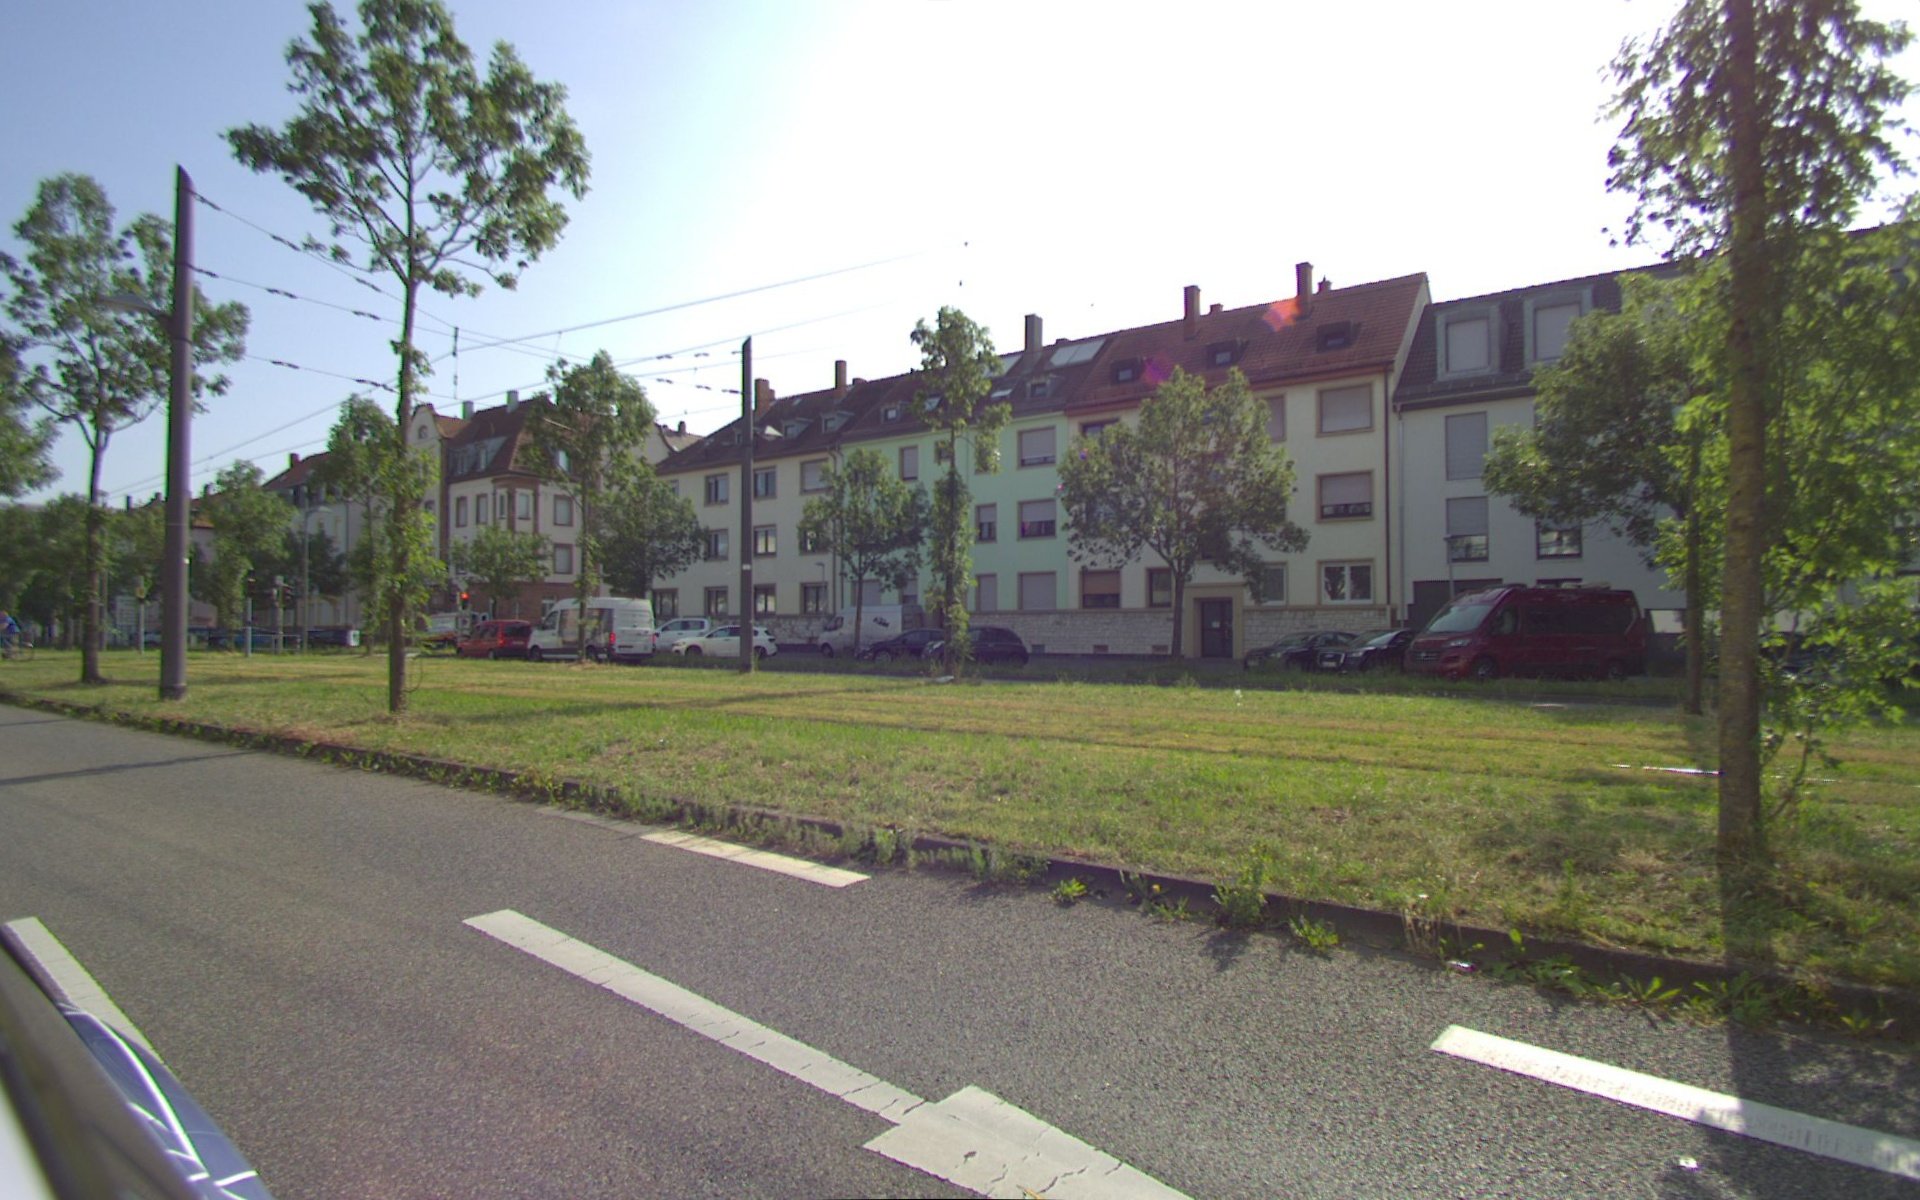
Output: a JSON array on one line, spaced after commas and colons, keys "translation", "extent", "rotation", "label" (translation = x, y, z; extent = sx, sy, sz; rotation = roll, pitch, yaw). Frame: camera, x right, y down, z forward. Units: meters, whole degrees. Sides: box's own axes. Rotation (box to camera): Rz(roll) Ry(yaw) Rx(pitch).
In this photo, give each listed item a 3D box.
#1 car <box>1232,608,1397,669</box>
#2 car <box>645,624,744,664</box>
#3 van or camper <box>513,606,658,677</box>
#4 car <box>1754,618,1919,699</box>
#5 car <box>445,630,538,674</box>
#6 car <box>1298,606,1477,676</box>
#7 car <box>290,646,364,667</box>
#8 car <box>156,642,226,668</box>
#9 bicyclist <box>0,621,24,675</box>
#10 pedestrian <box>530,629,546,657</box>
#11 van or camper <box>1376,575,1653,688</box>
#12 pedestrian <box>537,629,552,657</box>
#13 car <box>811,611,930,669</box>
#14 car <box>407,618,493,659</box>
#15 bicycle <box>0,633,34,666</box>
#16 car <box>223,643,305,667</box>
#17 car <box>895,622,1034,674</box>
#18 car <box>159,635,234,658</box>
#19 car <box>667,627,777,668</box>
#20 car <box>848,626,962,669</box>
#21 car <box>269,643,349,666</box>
[{"translation": [10.064, 1.063, 28.807], "extent": [4.083, 1.520, 1.874], "rotation": [-1, 2, -16], "label": "car"}, {"translation": [-11.502, 1.880, 43.805], "extent": [4.029, 1.541, 1.818], "rotation": [-1, 0, -17], "label": "car"}, {"translation": [-14.321, 1.569, 38.572], "extent": [6.046, 2.493, 2.122], "rotation": [-1, -3, 36], "label": "van or camper"}, {"translation": [18.639, 1.141, 20.792], "extent": [3.931, 1.431, 1.787], "rotation": [-1, 0, -19], "label": "car"}, {"translation": [-19.805, 2.161, 42.687], "extent": [4.154, 1.751, 1.799], "rotation": [-1, -3, 37], "label": "car"}, {"translation": [11.341, 1.035, 26.915], "extent": [4.083, 1.628, 1.874], "rotation": [-1, 2, -16], "label": "car"}, {"translation": [-40.646, 3.597, 65.089], "extent": [3.783, 1.136, 1.775], "rotation": [-1, 0, -23], "label": "car"}, {"translation": [-58.159, 4.135, 76.632], "extent": [3.931, 1.719, 1.881], "rotation": [-1, 0, -25], "label": "car"}, {"translation": [-34.322, 1.716, 36.163], "extent": [1.168, 1.864, 0.912], "rotation": [-1, 0, -36], "label": "bicyclist"}, {"translation": [-27.631, 2.804, 66.256], "extent": [0.632, 1.761, 0.662], "rotation": [-1, 0, 36], "label": "pedestrian"}, {"translation": [13.674, 0.723, 25.019], "extent": [6.056, 2.566, 2.421], "rotation": [0, -1, -18], "label": "van or camper"}, {"translation": [-27.042, 2.808, 65.821], "extent": [0.632, 1.761, 0.662], "rotation": [-1, 0, 36], "label": "pedestrian"}, {"translation": [-4.188, 1.791, 46.546], "extent": [5.569, 2.482, 1.975], "rotation": [-1, 0, 37], "label": "car"}, {"translation": [-34.544, 2.582, 68.453], "extent": [6.491, 2.583, 2.329], "rotation": [-1, 0, 34], "label": "car"}, {"translation": [-34.293, 1.778, 36.120], "extent": [1.764, 1.154, 0.578], "rotation": [-1, 0, -37], "label": "bicycle"}, {"translation": [-48.654, 3.833, 70.862], "extent": [4.437, 1.451, 2.007], "rotation": [-1, 0, -23], "label": "car"}, {"translation": [0.120, 1.581, 34.220], "extent": [4.277, 1.541, 2.006], "rotation": [-1, 0, -15], "label": "car"}, {"translation": [-60.934, 3.719, 80.836], "extent": [4.423, 1.617, 2.007], "rotation": [-1, 0, -26], "label": "car"}, {"translation": [-9.880, 1.923, 41.971], "extent": [4.292, 1.486, 1.863], "rotation": [-1, 0, -17], "label": "car"}, {"translation": [-1.984, 1.673, 36.072], "extent": [3.713, 1.353, 1.778], "rotation": [-1, 0, -17], "label": "car"}, {"translation": [-43.982, 3.653, 68.508], "extent": [4.268, 1.336, 2.007], "rotation": [-1, 0, -23], "label": "car"}]
